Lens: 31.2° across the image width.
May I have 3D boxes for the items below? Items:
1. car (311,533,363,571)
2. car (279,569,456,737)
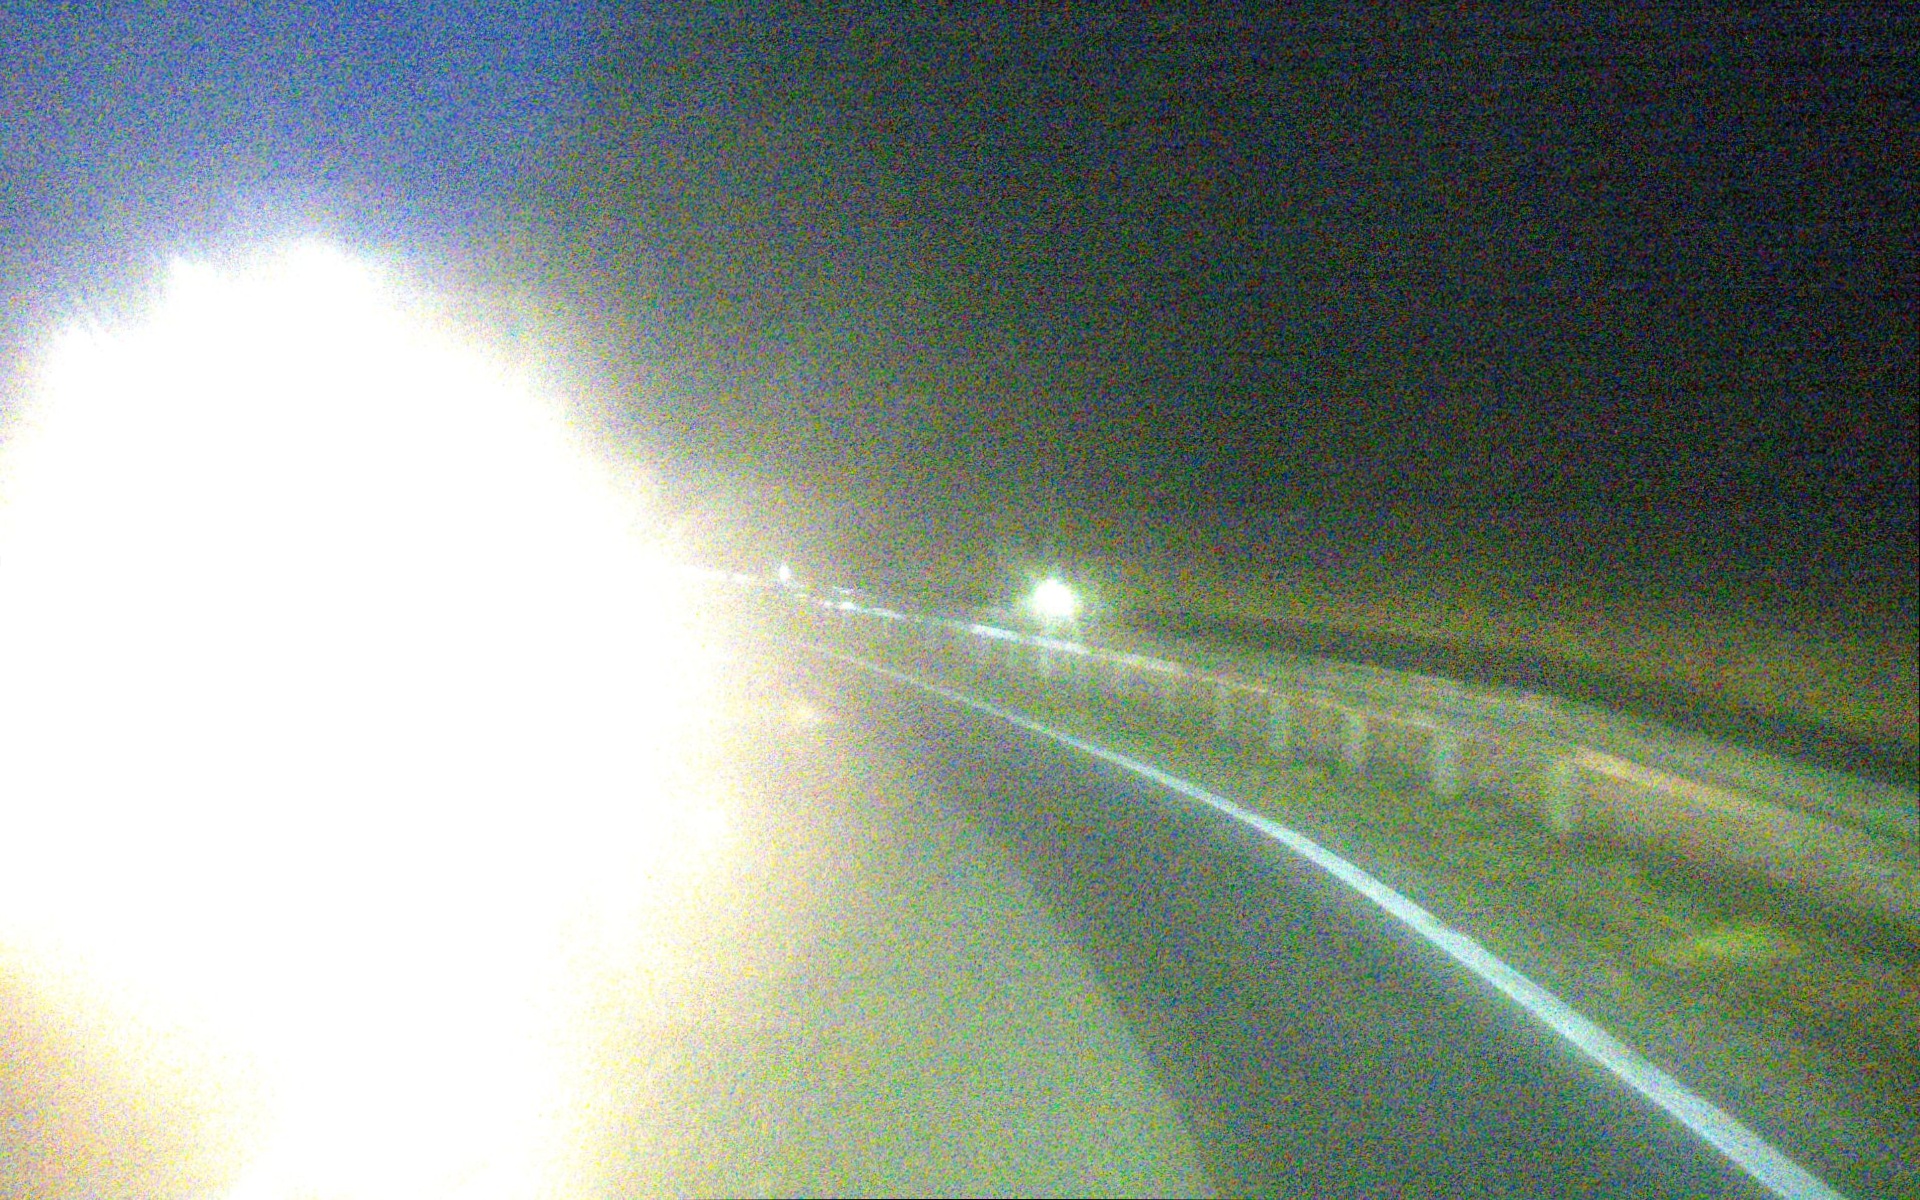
[{"bbox_3d":[-24.949,-1.920,137.593,1.993,1.467,3.837,1,1,-11],"label":"car"},{"bbox_3d":[-7.198,0.602,41.902,1.993,1.919,4.001,1,0,-9],"label":"car"}]
